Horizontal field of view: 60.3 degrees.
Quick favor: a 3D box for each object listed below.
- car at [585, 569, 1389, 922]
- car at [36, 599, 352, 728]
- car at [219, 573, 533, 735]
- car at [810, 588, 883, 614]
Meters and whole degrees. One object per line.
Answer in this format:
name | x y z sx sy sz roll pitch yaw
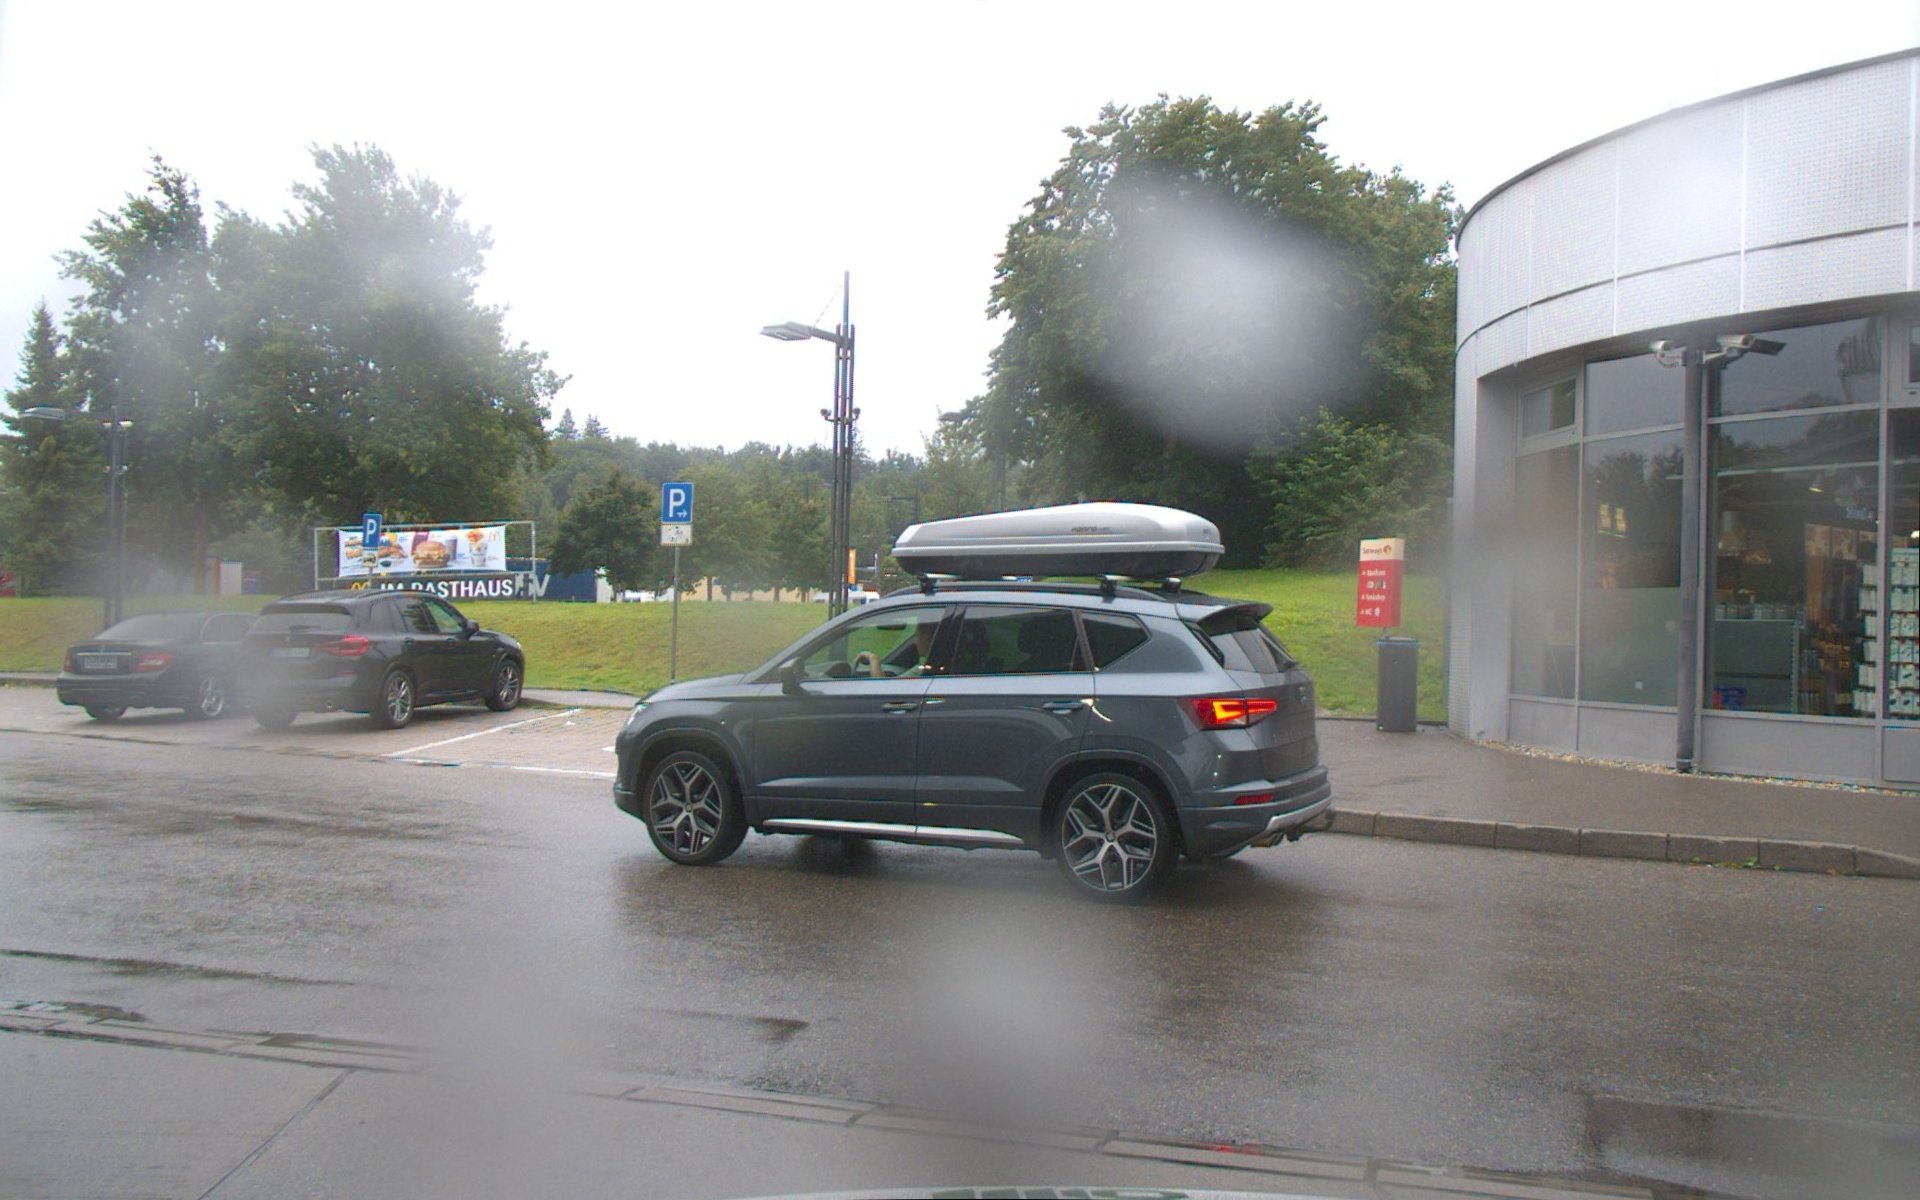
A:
car | 0.130 0.657 9.514 4.228 1.615 1.888 1 1 27
car | -10.358 0.787 22.753 1.844 1.592 4.189 0 0 11
car | -7.333 0.614 21.313 1.844 1.860 4.417 0 0 11
car | -9.158 0.071 133.623 5.310 2.049 2.456 1 0 19
